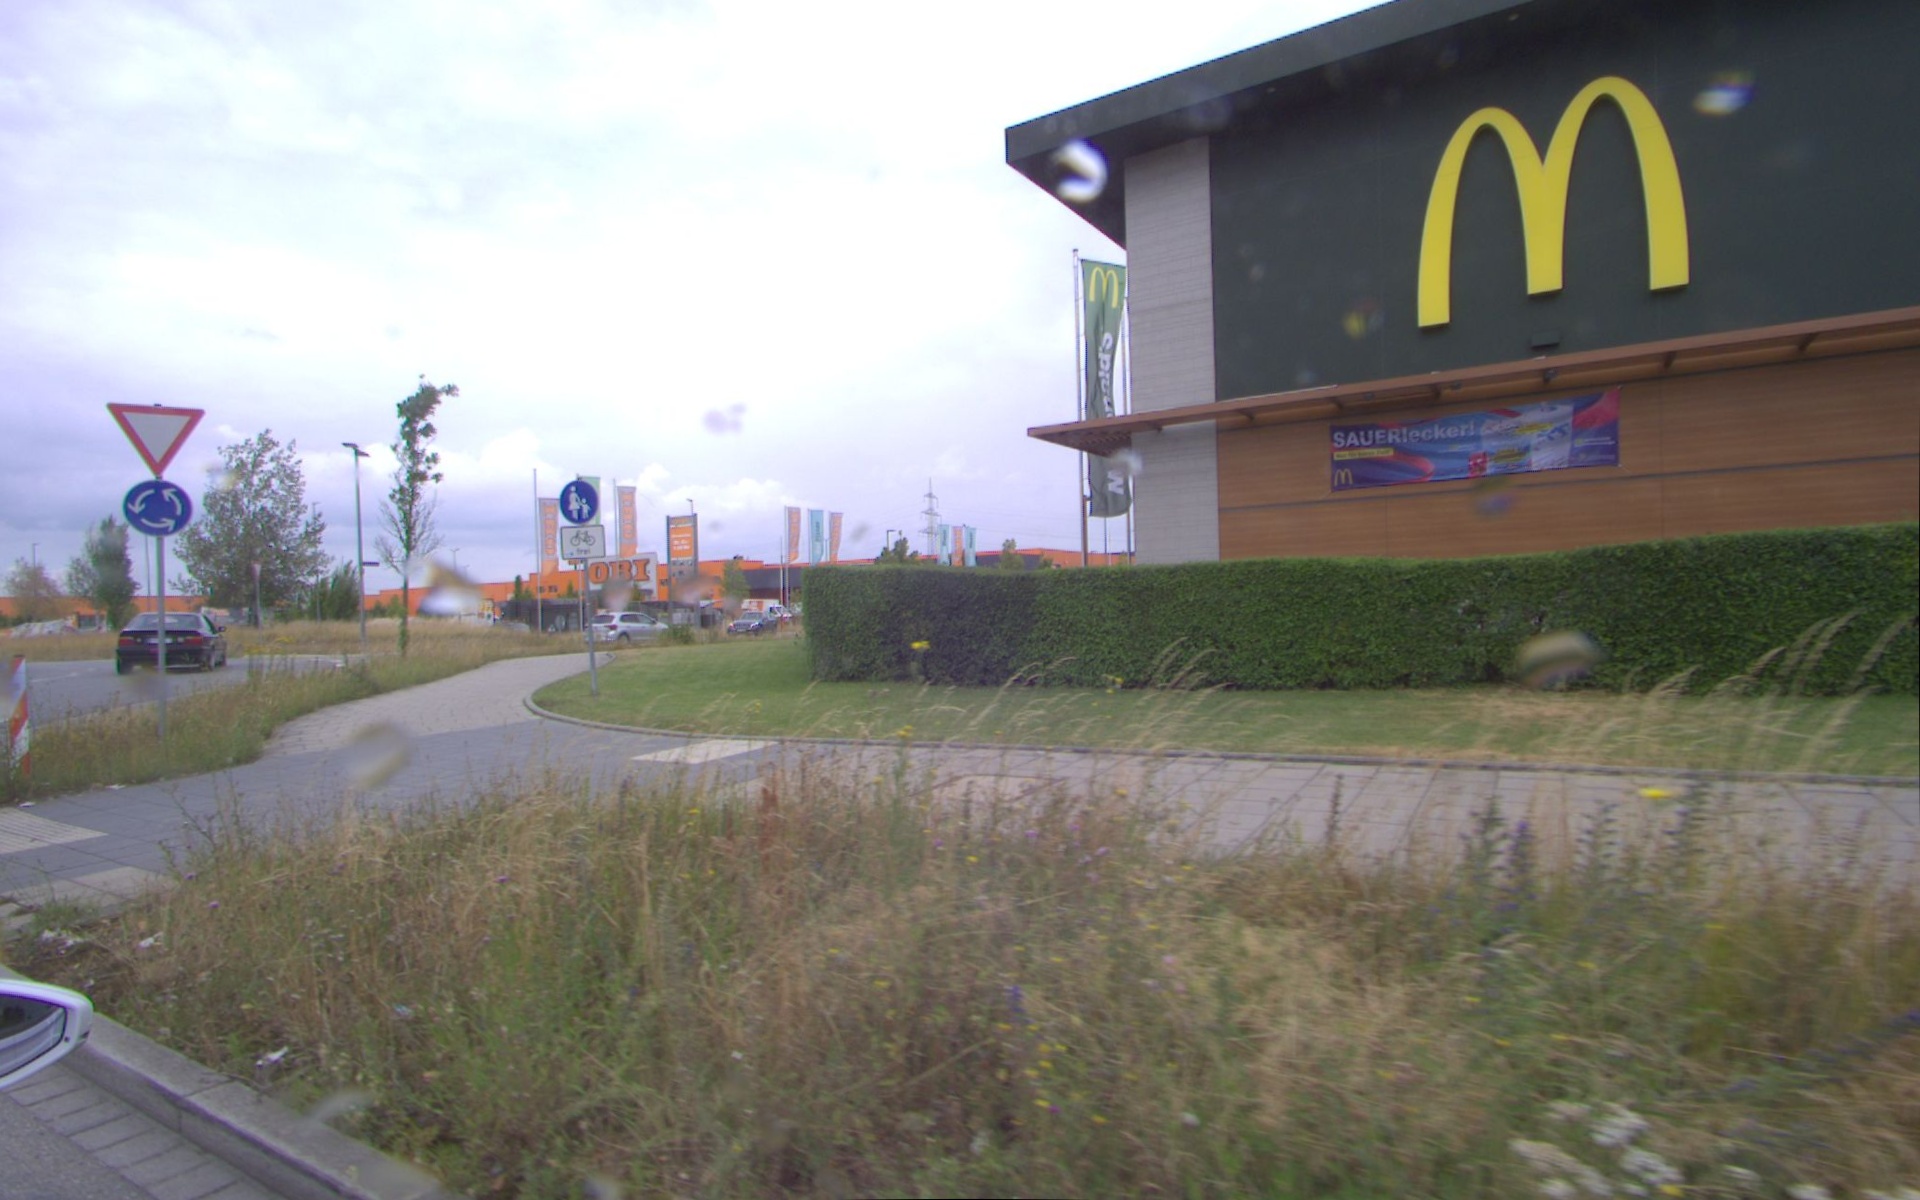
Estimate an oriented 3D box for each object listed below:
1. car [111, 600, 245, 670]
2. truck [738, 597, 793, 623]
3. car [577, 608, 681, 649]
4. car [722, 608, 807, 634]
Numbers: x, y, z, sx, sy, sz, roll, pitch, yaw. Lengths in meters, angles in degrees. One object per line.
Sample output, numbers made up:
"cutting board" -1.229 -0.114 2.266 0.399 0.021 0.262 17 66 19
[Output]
"car" -17.975 0.756 23.188 1.717 1.422 3.978 1 0 -27
"truck" -20.877 1.058 107.520 5.461 2.515 2.433 -3 -2 25
"car" -13.277 1.111 40.400 1.783 1.483 3.988 2 1 24
"car" -10.982 1.219 56.512 1.904 1.421 4.656 -1 -2 38
